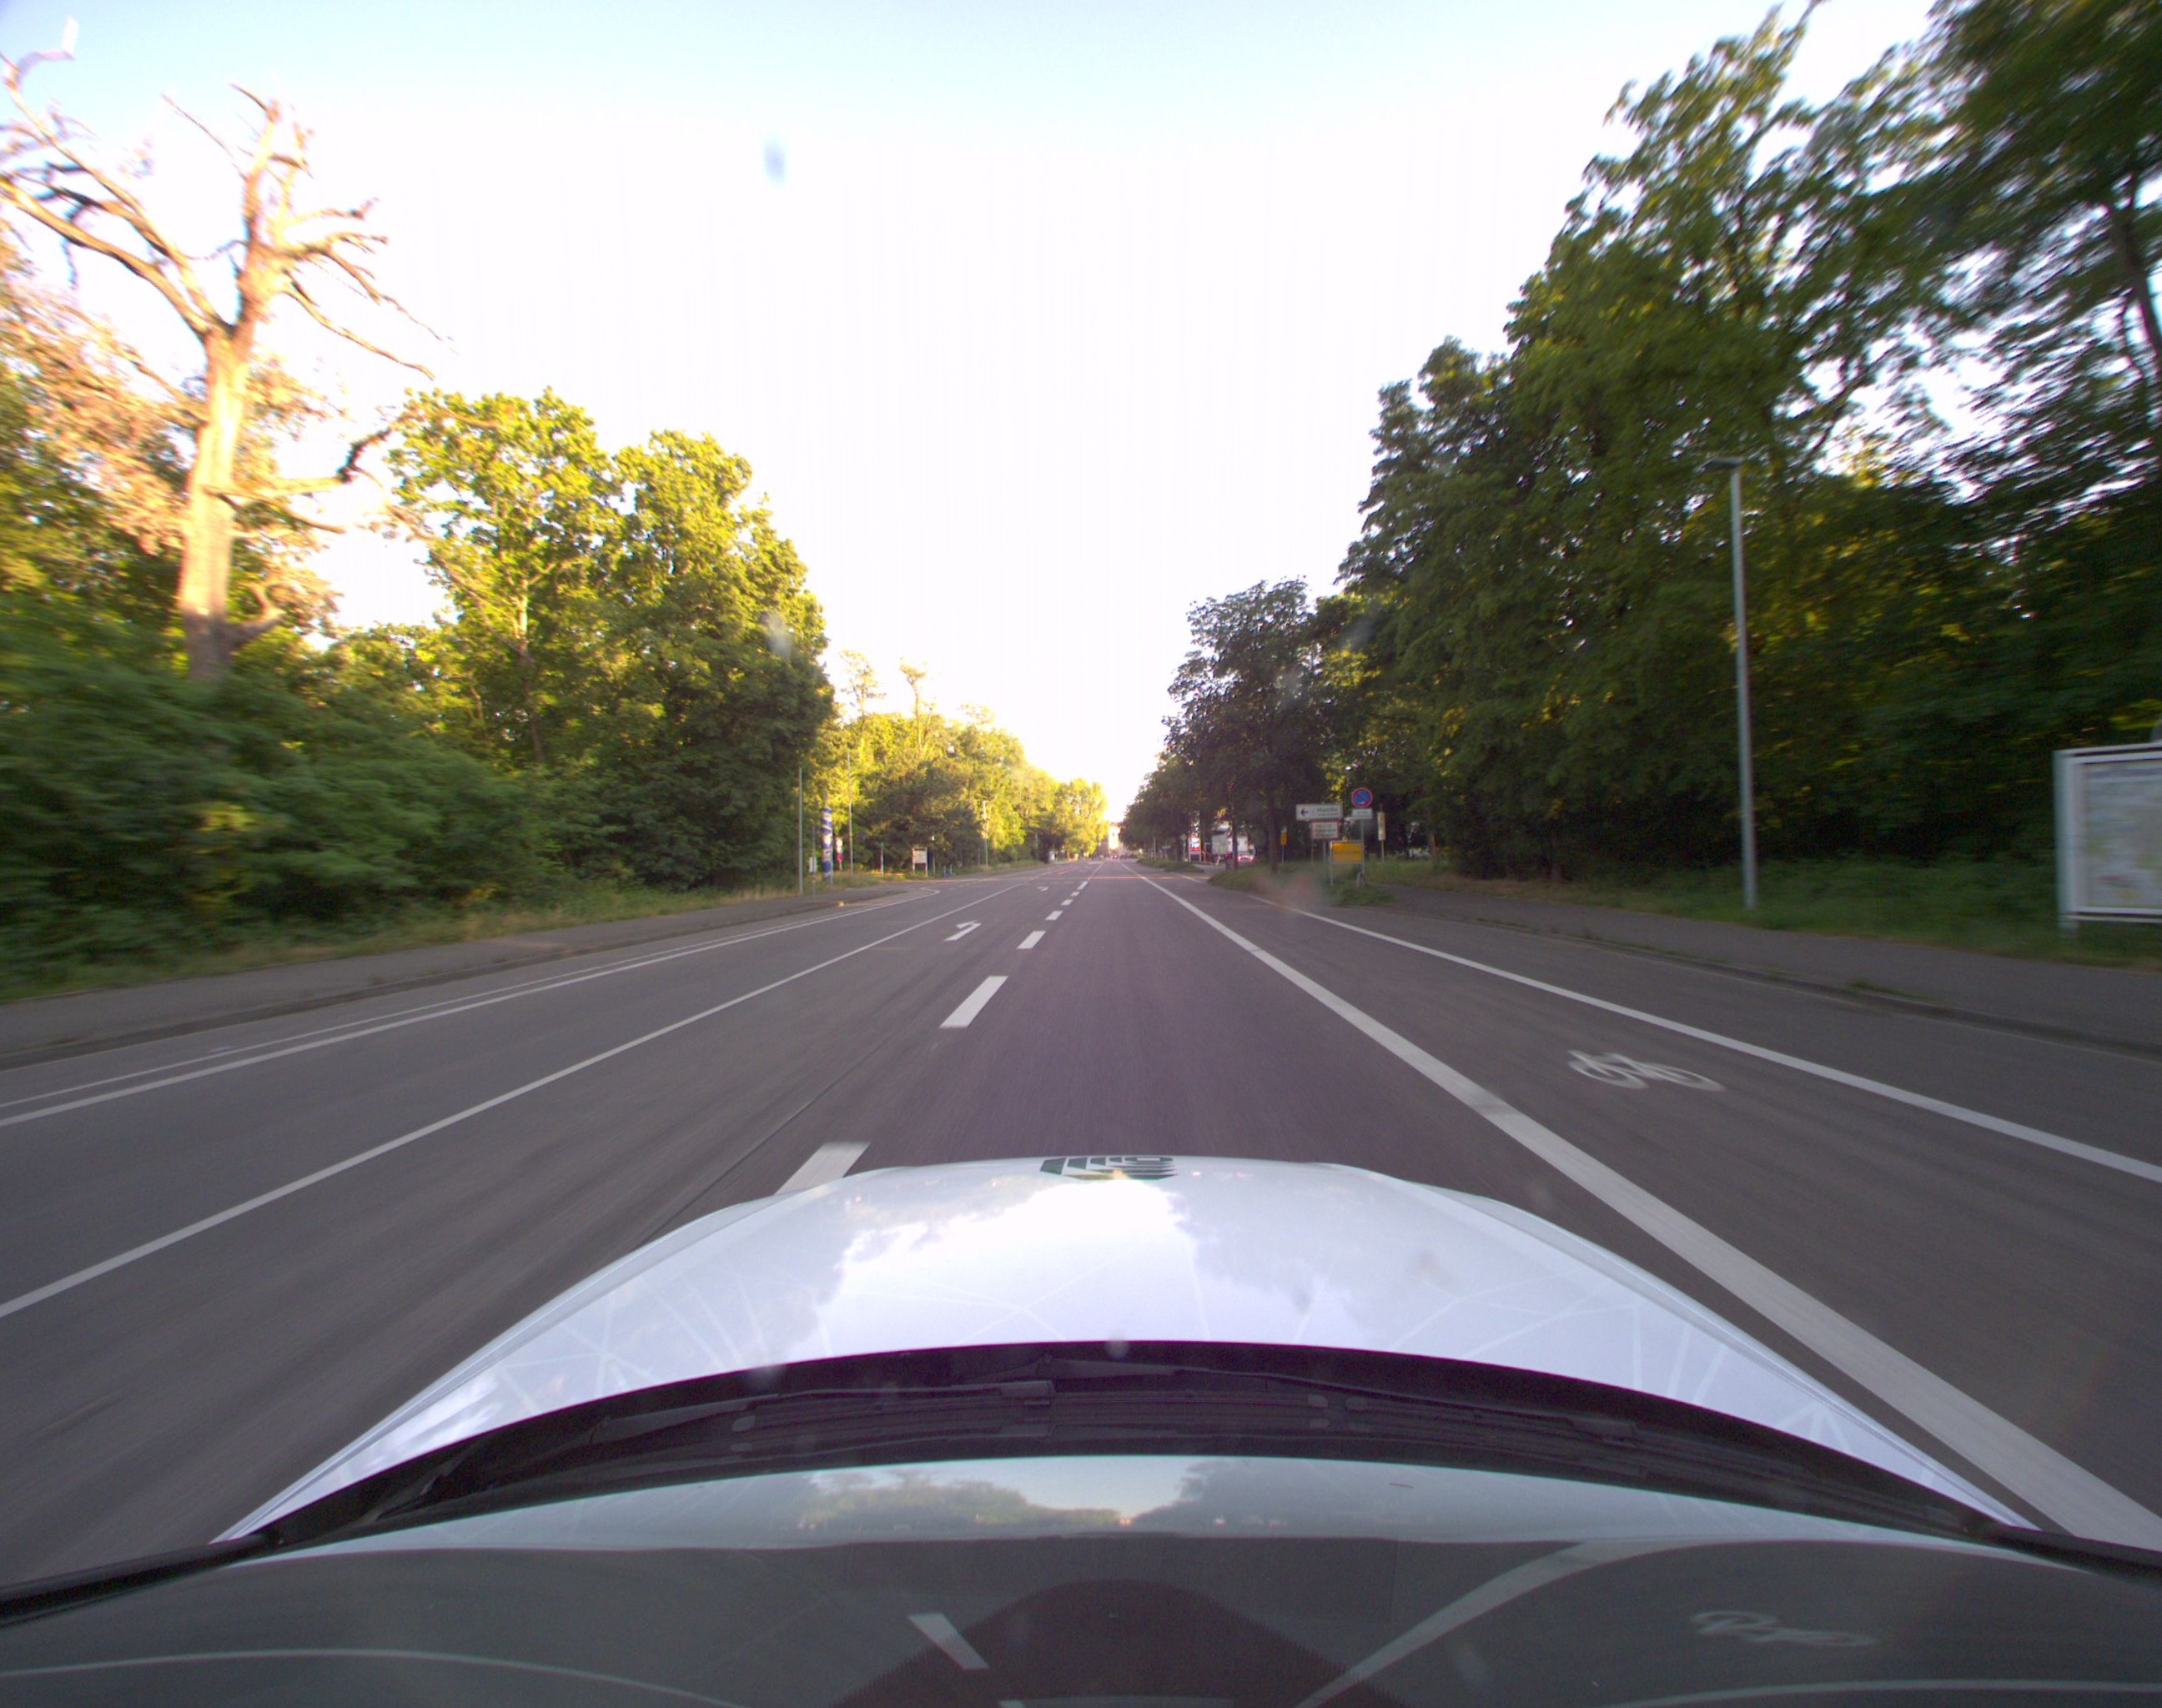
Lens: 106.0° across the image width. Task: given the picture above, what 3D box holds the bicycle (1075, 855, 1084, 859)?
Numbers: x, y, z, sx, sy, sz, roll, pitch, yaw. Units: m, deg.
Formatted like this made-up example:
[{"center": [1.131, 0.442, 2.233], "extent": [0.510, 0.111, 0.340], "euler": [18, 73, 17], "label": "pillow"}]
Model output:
[{"center": [-0.385, 0.958, 243.250], "extent": [2.446, 1.195, 0.759], "euler": [-2, -1, 11], "label": "bicycle"}]

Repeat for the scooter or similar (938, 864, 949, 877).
[{"center": [-11.925, 1.423, 70.657], "extent": [0.357, 1.110, 0.885], "euler": [-2, -1, 44], "label": "scooter or similar"}]

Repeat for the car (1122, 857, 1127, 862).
[{"center": [13.937, 1.831, 258.388], "extent": [1.487, 1.486, 3.493], "euler": [-2, -1, 3], "label": "car"}]

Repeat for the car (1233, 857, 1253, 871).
[{"center": [18.263, 1.098, 91.780], "extent": [1.761, 1.583, 4.826], "euler": [0, 0, 6], "label": "car"}]

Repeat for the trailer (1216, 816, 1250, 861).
[{"center": [19.425, -1.955, 104.436], "extent": [3.008, 5.462, 7.939], "euler": [-1, 0, 2], "label": "trailer"}]

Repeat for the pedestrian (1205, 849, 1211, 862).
[{"center": [17.961, 0.165, 115.161], "extent": [0.753, 1.798, 0.707], "euler": [0, 0, 5], "label": "pedestrian"}]

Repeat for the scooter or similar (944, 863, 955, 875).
[{"center": [-11.916, 1.394, 73.976], "extent": [0.901, 1.068, 0.492], "euler": [-1, 0, -24], "label": "scooter or similar"}]

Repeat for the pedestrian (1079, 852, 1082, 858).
[{"center": [-0.272, 0.274, 243.181], "extent": [0.785, 1.580, 0.748], "euler": [0, 0, 11], "label": "pedestrian"}]

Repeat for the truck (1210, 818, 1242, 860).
[{"center": [19.721, -1.983, 111.137], "extent": [3.021, 5.455, 8.415], "euler": [-1, 0, 2], "label": "truck"}]

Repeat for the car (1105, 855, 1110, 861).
[{"center": [7.929, 1.186, 242.623], "extent": [1.487, 1.486, 3.493], "euler": [-2, 0, 3], "label": "car"}]
